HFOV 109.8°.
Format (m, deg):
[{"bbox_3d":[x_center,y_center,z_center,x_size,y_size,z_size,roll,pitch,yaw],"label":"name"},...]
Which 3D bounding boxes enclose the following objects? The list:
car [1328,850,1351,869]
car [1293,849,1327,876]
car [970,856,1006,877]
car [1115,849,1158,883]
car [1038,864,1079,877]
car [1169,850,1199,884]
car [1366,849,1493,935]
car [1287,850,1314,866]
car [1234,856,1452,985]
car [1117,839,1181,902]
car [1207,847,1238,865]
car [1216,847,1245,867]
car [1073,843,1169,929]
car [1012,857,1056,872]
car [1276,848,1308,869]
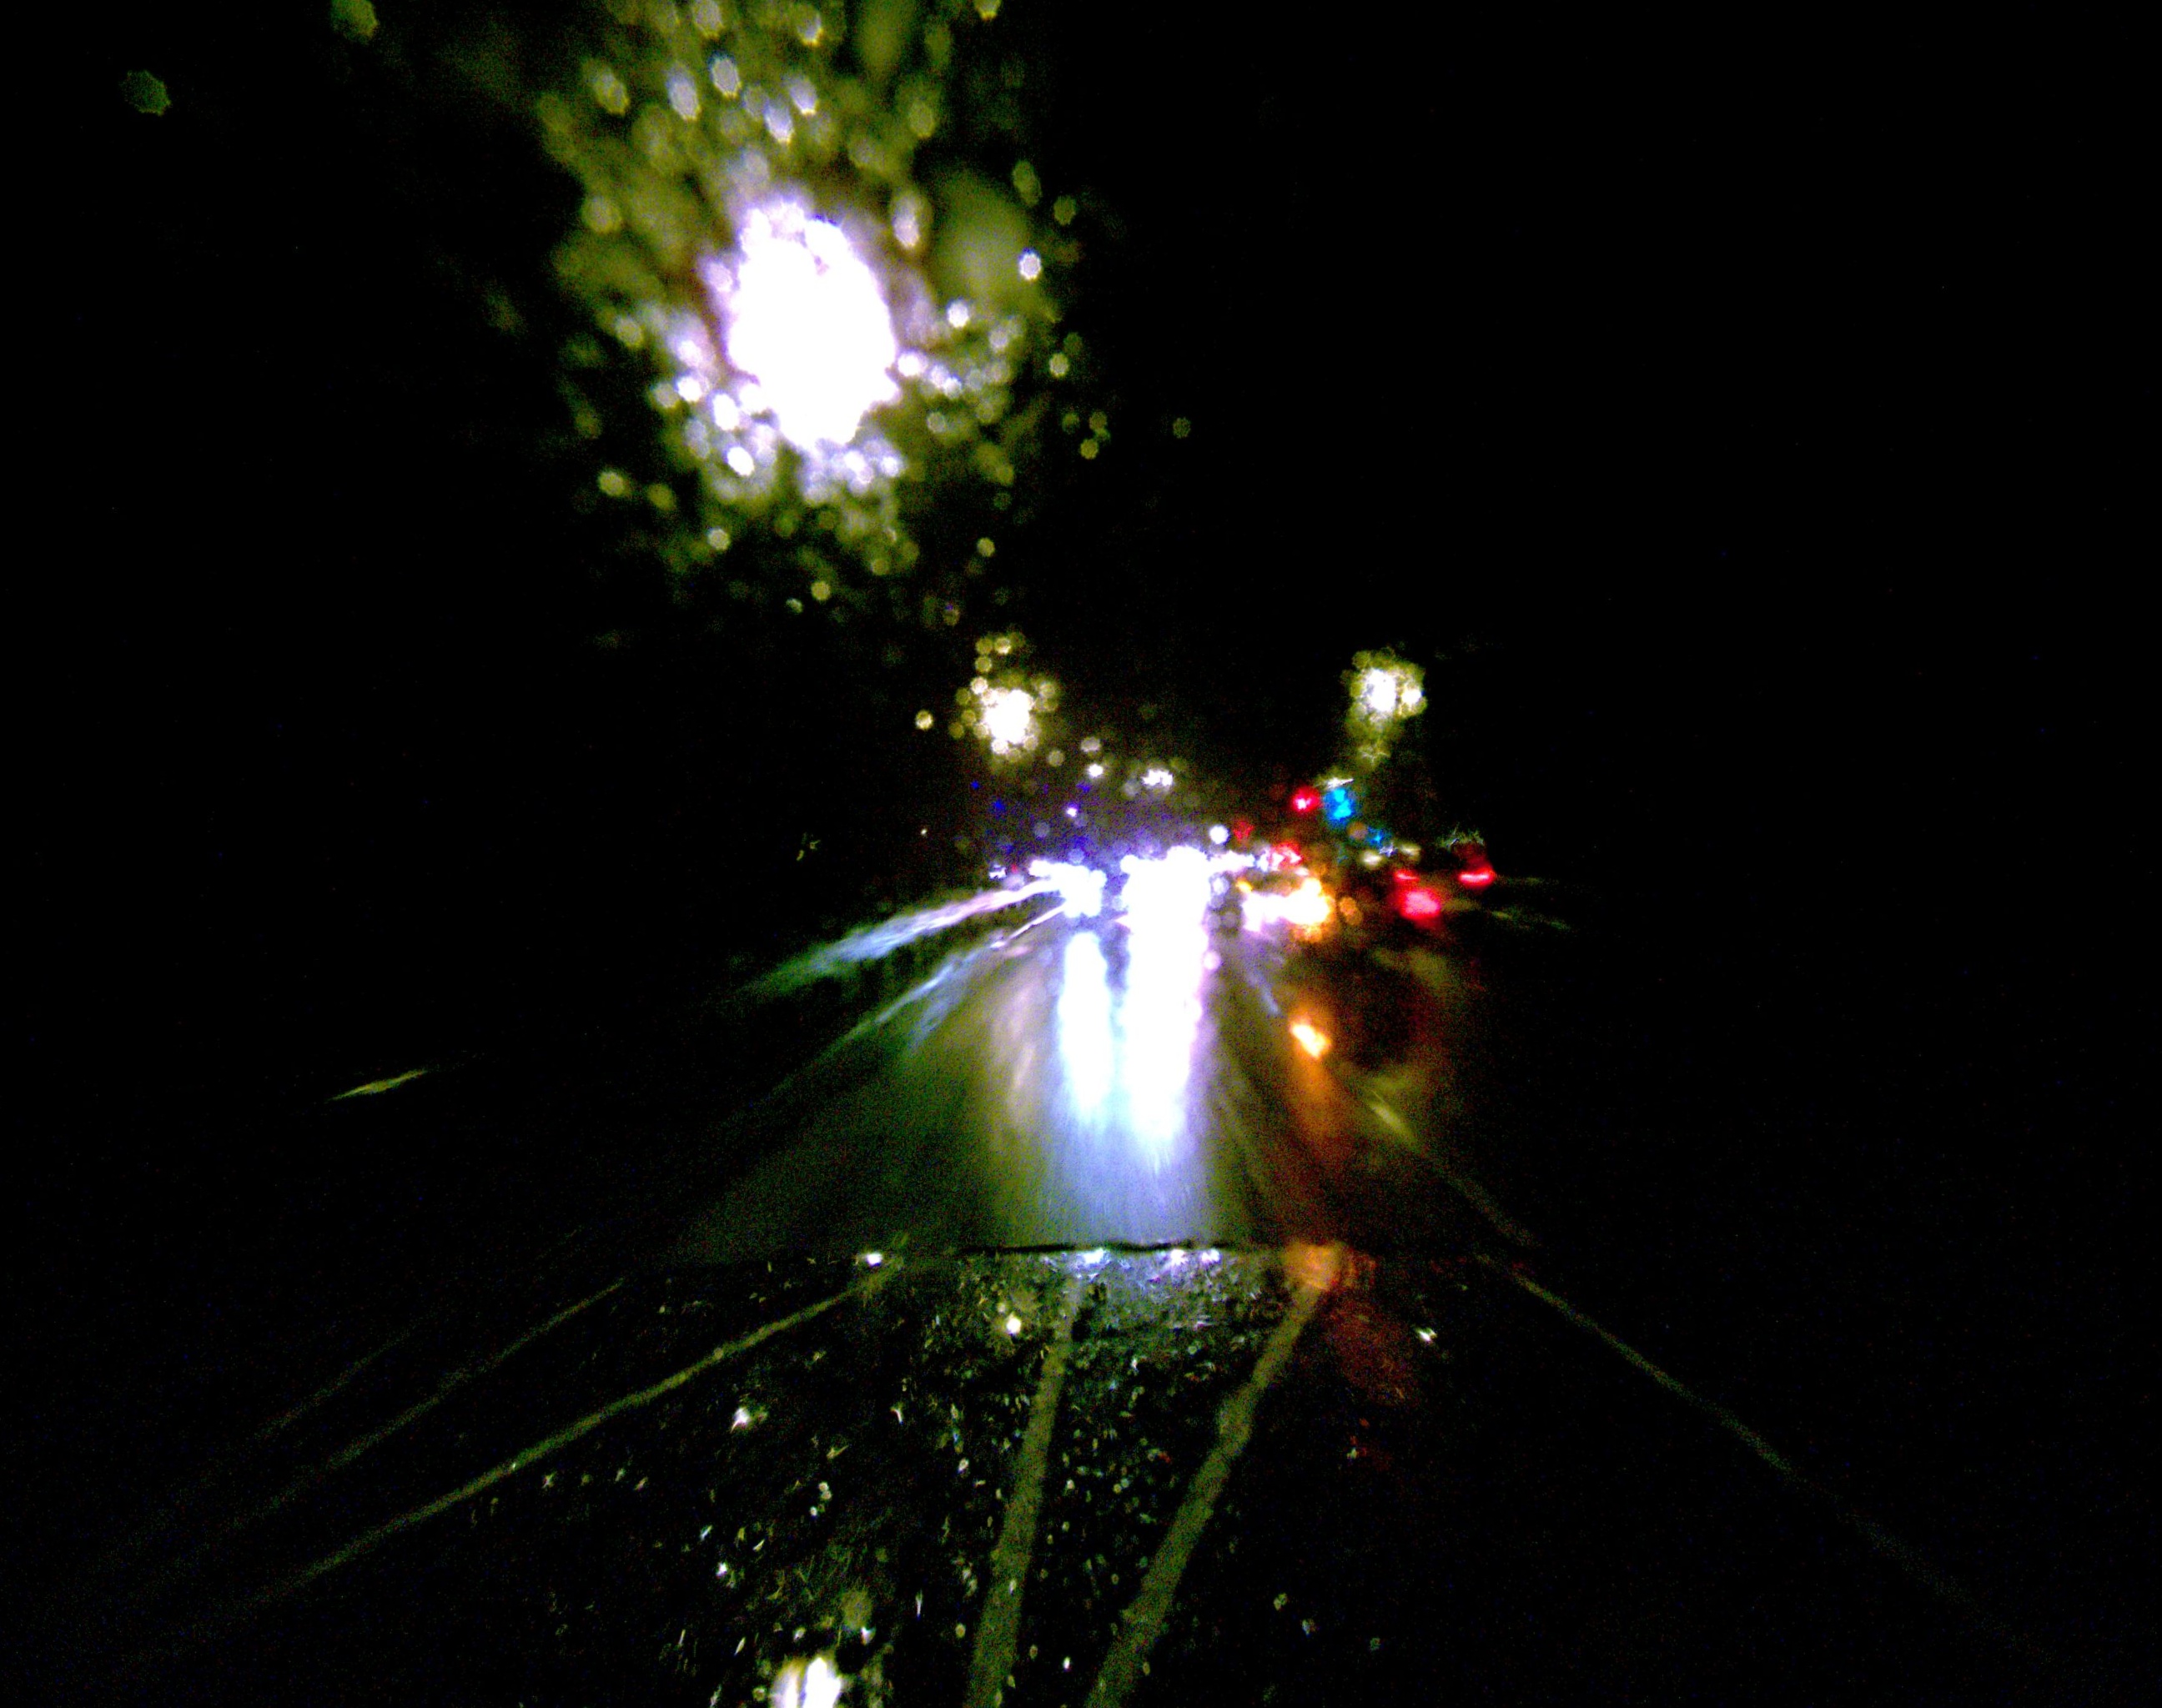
[{"bbox_3d":[21.994,0.468,64.560,1.768,1.508,3.954,-1,0,19],"label":"car"},{"bbox_3d":[13.340,0.465,44.459,1.769,1.419,4.223,0,1,15],"label":"car"},{"bbox_3d":[-10.906,1.450,88.874,3.991,2.002,1.766,-6,3,40],"label":"car"},{"bbox_3d":[3.016,0.588,40.635,2.045,1.611,4.289,-3,1,6],"label":"car"},{"bbox_3d":[-2.586,1.894,86.837,4.533,1.400,2.004,-1,1,39],"label":"car"},{"bbox_3d":[6.184,0.744,45.500,1.304,1.521,3.046,-11,2,13],"label":"car"},{"bbox_3d":[7.085,0.731,15.753,1.474,1.575,3.193,-2,0,7],"label":"car"},{"bbox_3d":[29.159,0.552,100.740,1.865,2.002,4.008,-2,0,40],"label":"car"},{"bbox_3d":[3.468,0.787,10.914,1.900,1.431,4.063,-1,0,3],"label":"car"},{"bbox_3d":[2.488,0.539,27.015,1.997,2.002,4.002,-3,0,8],"label":"car"},{"bbox_3d":[16.686,0.248,89.678,1.865,2.002,4.008,-2,0,39],"label":"car"},{"bbox_3d":[15.939,0.273,80.884,1.865,2.002,4.007,-2,0,29],"label":"car"},{"bbox_3d":[0.995,0.695,17.450,1.927,1.704,4.241,-1,-1,5],"label":"car"},{"bbox_3d":[-5.314,1.168,85.245,4.769,1.630,2.004,-1,1,39],"label":"car"},{"bbox_3d":[17.982,0.370,64.667,2.001,1.665,4.624,-2,0,22],"label":"car"}]
